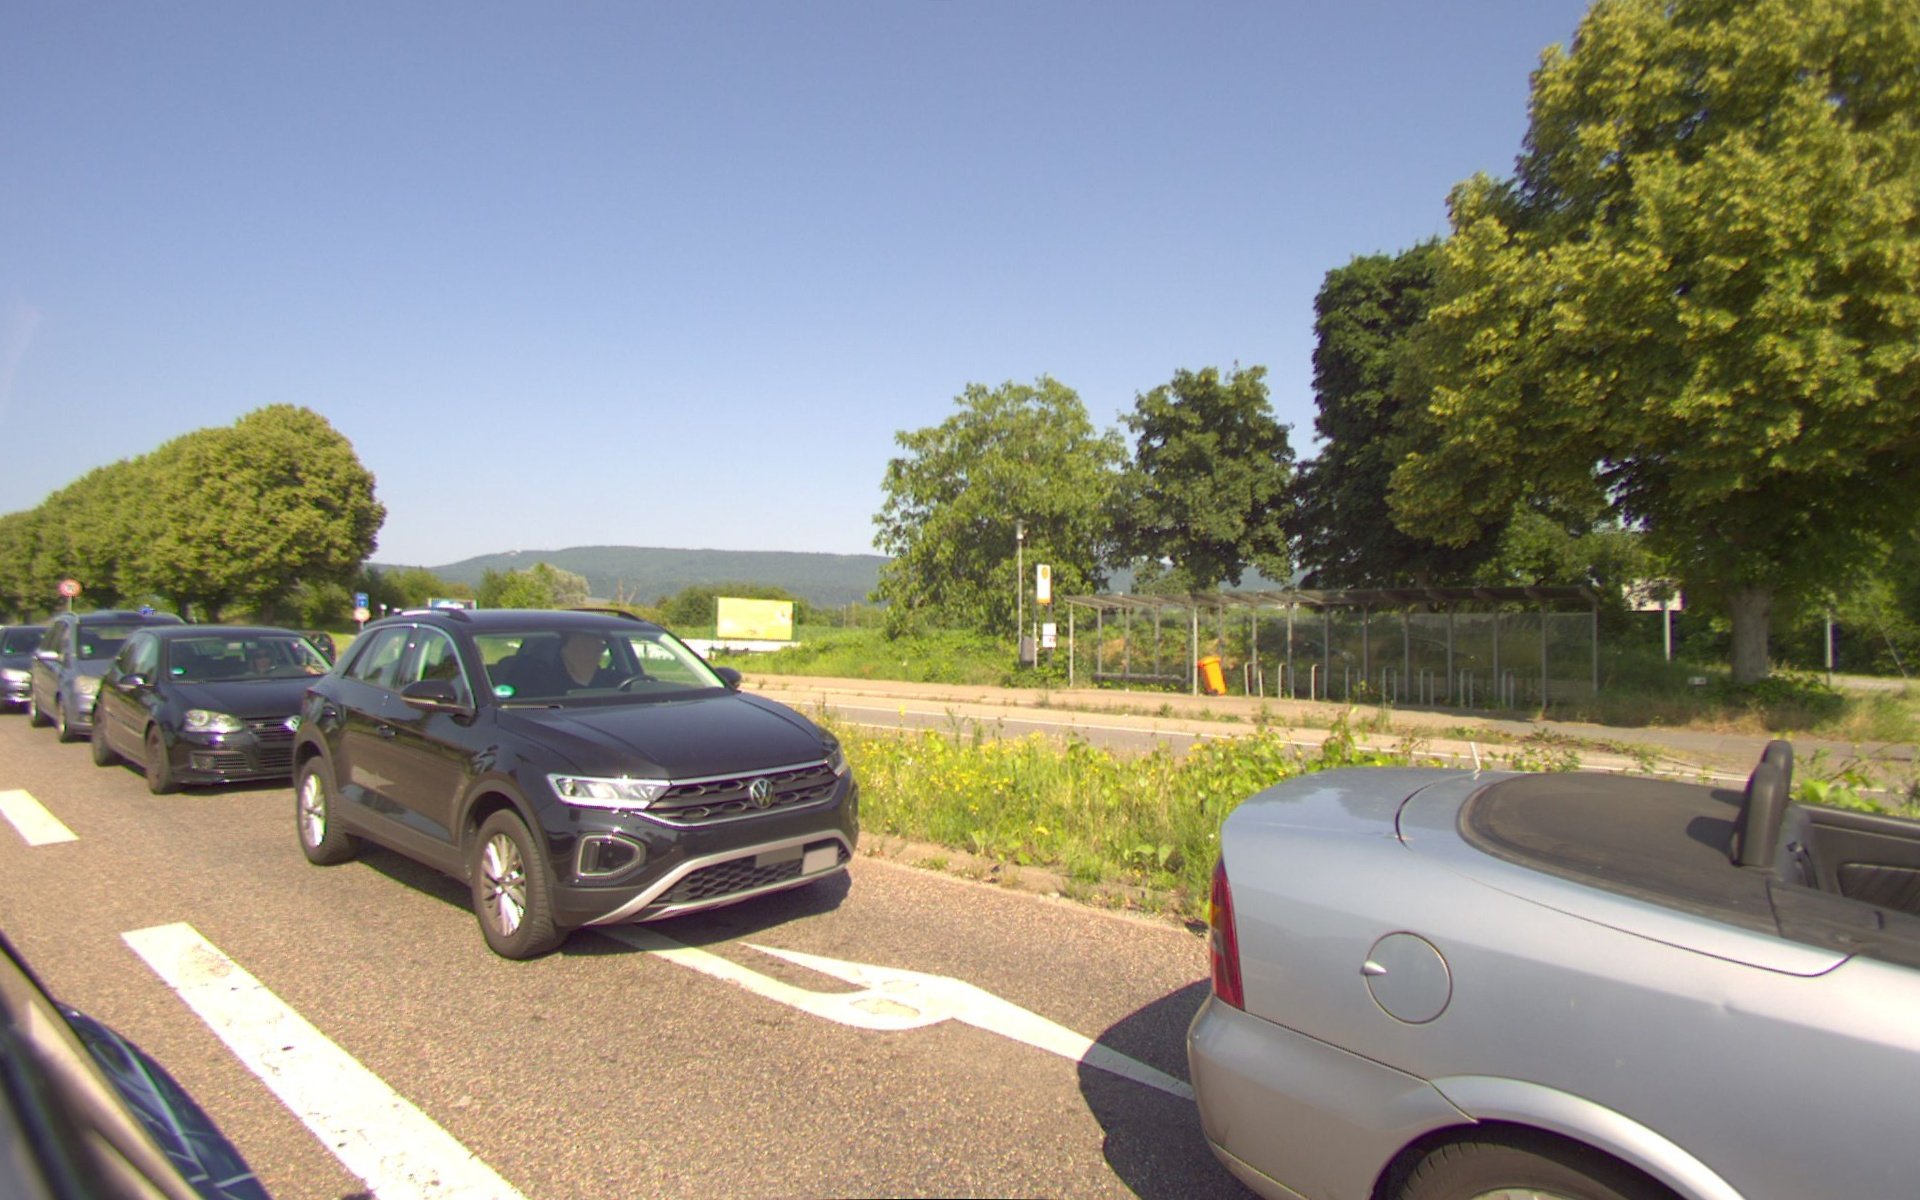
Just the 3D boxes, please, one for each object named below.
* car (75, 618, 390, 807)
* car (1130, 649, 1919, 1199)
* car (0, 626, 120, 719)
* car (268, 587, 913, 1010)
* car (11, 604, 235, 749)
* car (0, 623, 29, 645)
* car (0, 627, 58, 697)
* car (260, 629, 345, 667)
[{"bbox_3d":[-7.273,0.943,9.966,4.096,1.486,1.648,-2,-2,42],"label":"car"},{"bbox_3d":[2.437,0.776,1.433,4.096,1.345,1.656,-1,-3,42],"label":"car"},{"bbox_3d":[-16.199,1.190,17.691,4.353,1.421,1.696,-2,-1,42],"label":"car"},{"bbox_3d":[-2.328,0.788,5.759,4.096,1.559,1.710,-2,-2,42],"label":"car"},{"bbox_3d":[-11.603,0.948,13.923,4.355,1.685,1.723,-2,-2,42],"label":"car"},{"bbox_3d":[-71.154,2.540,75.579,4.146,1.527,1.863,-1,-4,41],"label":"car"},{"bbox_3d":[-21.430,1.317,22.292,4.639,1.436,1.784,-1,-1,41],"label":"car"},{"bbox_3d":[-26.657,1.937,40.988,3.769,1.453,1.600,-1,-4,36],"label":"car"}]
